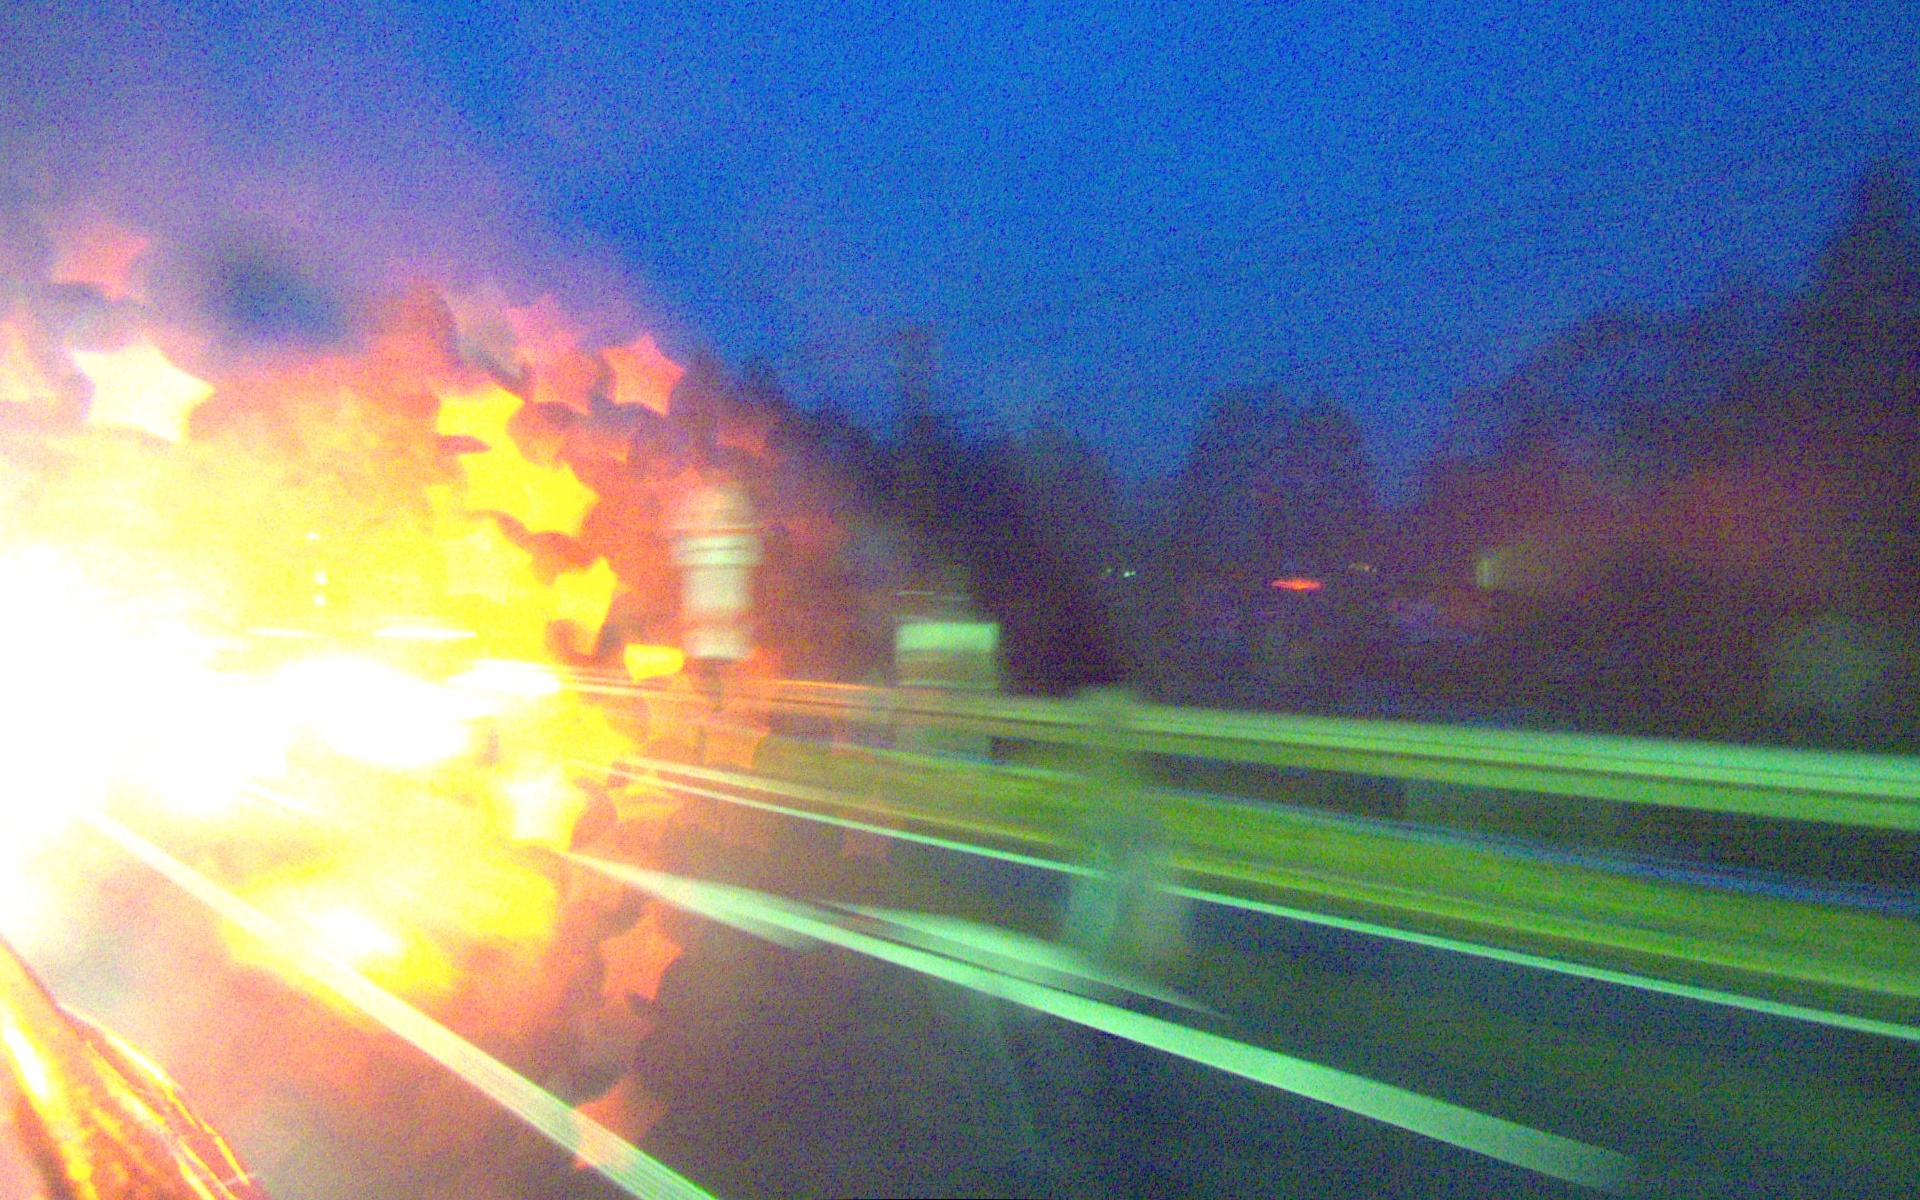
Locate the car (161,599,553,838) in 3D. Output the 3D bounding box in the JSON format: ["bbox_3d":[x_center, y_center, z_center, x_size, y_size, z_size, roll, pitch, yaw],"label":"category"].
[{"bbox_3d":[-5.620,0.848,9.176,4.423,1.645,1.767,-1,0,41],"label":"car"}]

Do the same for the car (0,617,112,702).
[{"bbox_3d":[-18.035,1.092,19.727,3.774,1.479,1.767,-1,0,41],"label":"car"}]
